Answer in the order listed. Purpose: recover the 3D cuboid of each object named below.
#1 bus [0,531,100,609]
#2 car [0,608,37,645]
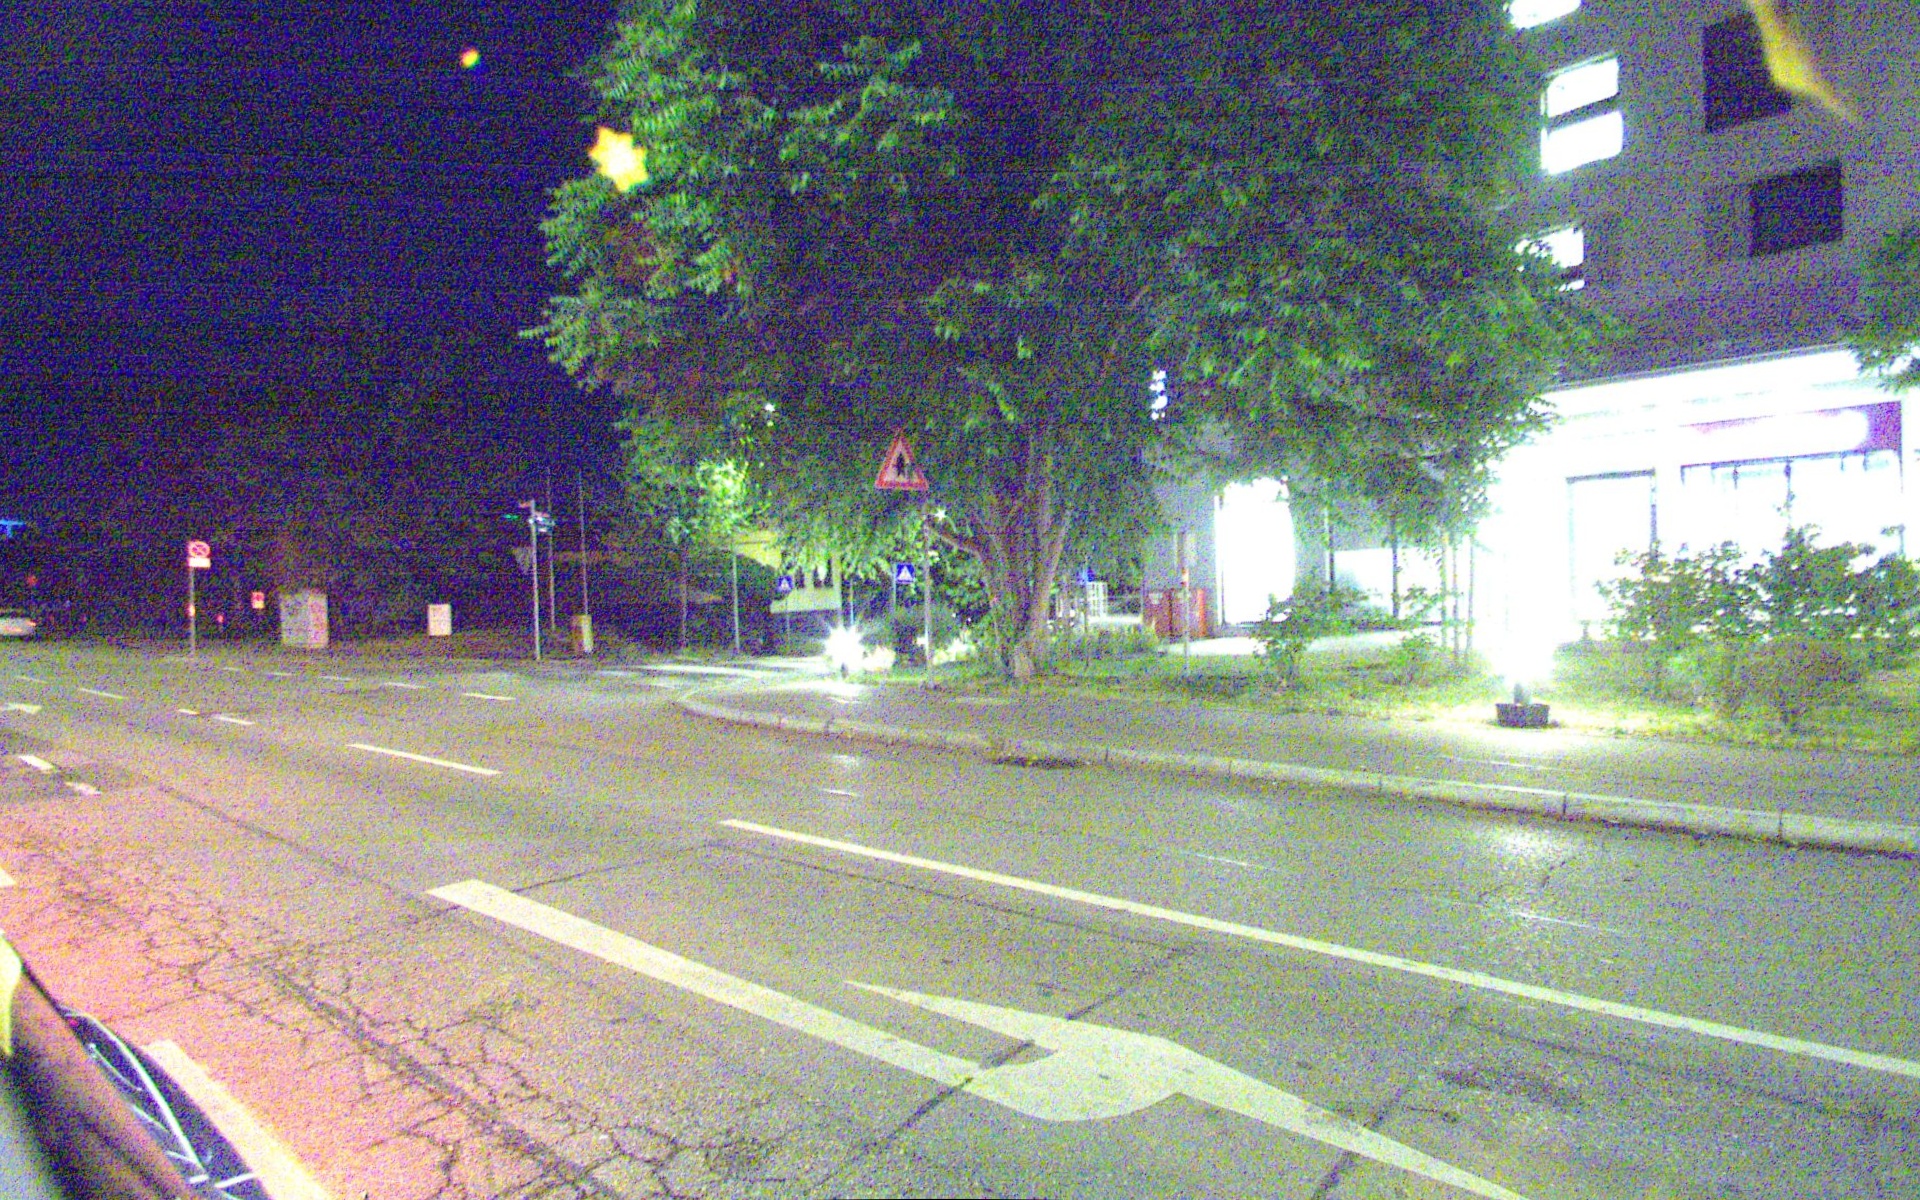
[{"bbox_3d":[-88.644,-2.674,98.013,14.776,6.990,6.056,-1,0,41],"label":"bus"},{"bbox_3d":[-43.173,1.178,45.584,3.995,1.604,1.784,-1,0,39],"label":"car"}]
